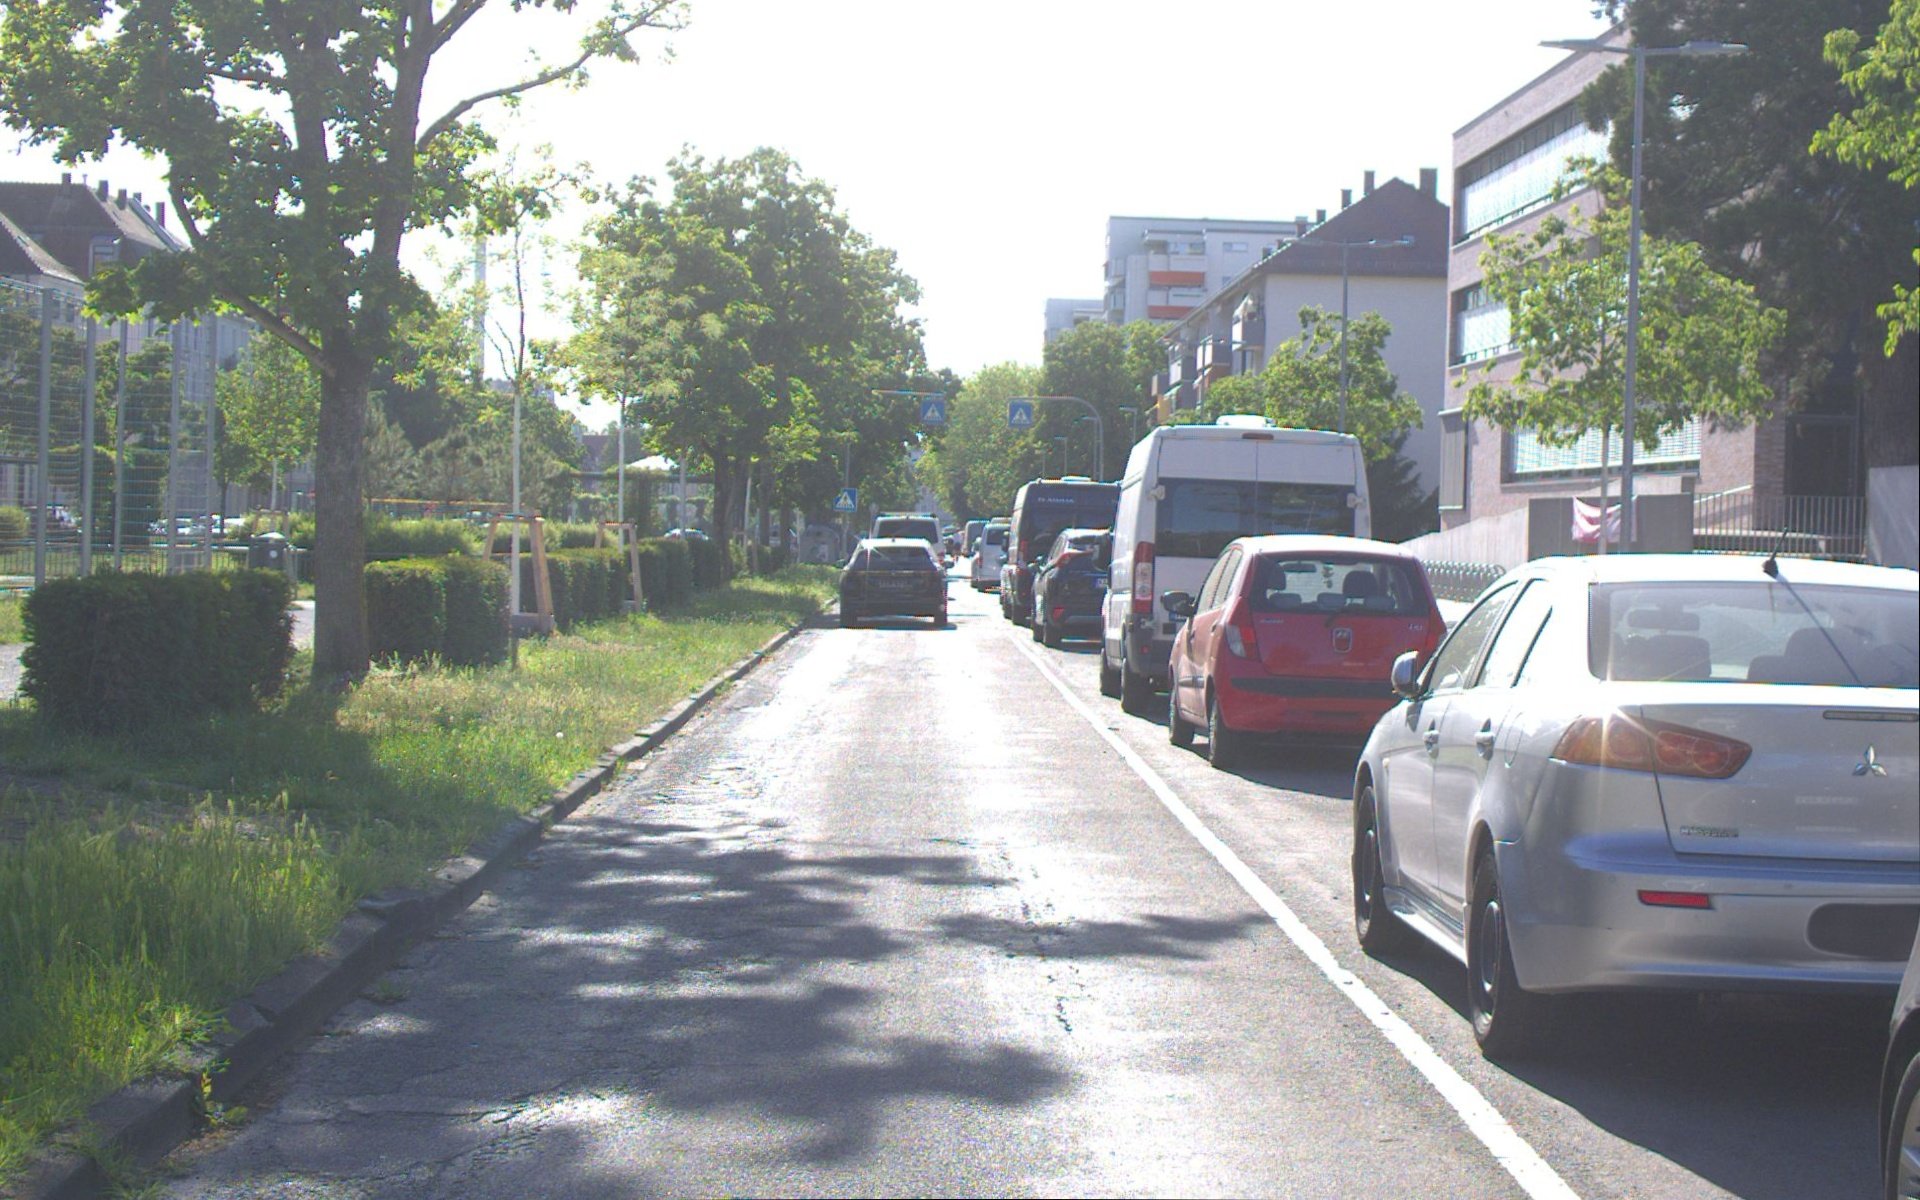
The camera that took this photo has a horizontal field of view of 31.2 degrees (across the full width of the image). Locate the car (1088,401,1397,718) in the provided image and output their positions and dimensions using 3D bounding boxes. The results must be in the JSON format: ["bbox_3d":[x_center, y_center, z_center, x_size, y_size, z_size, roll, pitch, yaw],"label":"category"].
[{"bbox_3d":[2.463,-0.392,31.489,2.241,2.565,5.433,2,1,0],"label":"car"}]

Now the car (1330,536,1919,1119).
[{"bbox_3d":[2.315,0.570,11.069,1.701,1.473,4.174,2,1,-1],"label":"car"}]

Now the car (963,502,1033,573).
[{"bbox_3d":[1.063,-1.741,94.715,1.794,1.848,4.413,2,1,1],"label":"car"}]

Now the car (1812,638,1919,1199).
[{"bbox_3d":[2.640,0.815,4.934,1.701,1.320,4.130,2,1,-1],"label":"car"}]

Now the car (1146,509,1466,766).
[{"bbox_3d":[2.296,0.195,23.633,1.619,1.583,3.592,2,1,-3],"label":"car"}]

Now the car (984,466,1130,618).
[{"bbox_3d":[1.658,-1.050,61.249,2.115,2.507,6.533,1,1,-2],"label":"car"}]

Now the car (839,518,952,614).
[{"bbox_3d":[-1.059,-0.597,58.047,1.794,1.505,4.000,2,1,0],"label":"car"}]

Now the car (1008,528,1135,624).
[{"bbox_3d":[1.763,-0.411,55.295,1.794,1.450,3.950,1,1,-1],"label":"car"}]

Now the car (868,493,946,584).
[{"bbox_3d":[-1.273,-1.509,83.736,1.794,2.115,4.000,2,1,0],"label":"car"}]

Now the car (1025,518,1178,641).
[{"bbox_3d":[1.962,-0.324,48.851,1.846,1.634,4.504,1,1,-1],"label":"car"}]

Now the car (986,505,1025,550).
[{"bbox_3d":[2.552,-4.079,193.239,1.993,2.422,4.500,4,1,0],"label":"car"}]
